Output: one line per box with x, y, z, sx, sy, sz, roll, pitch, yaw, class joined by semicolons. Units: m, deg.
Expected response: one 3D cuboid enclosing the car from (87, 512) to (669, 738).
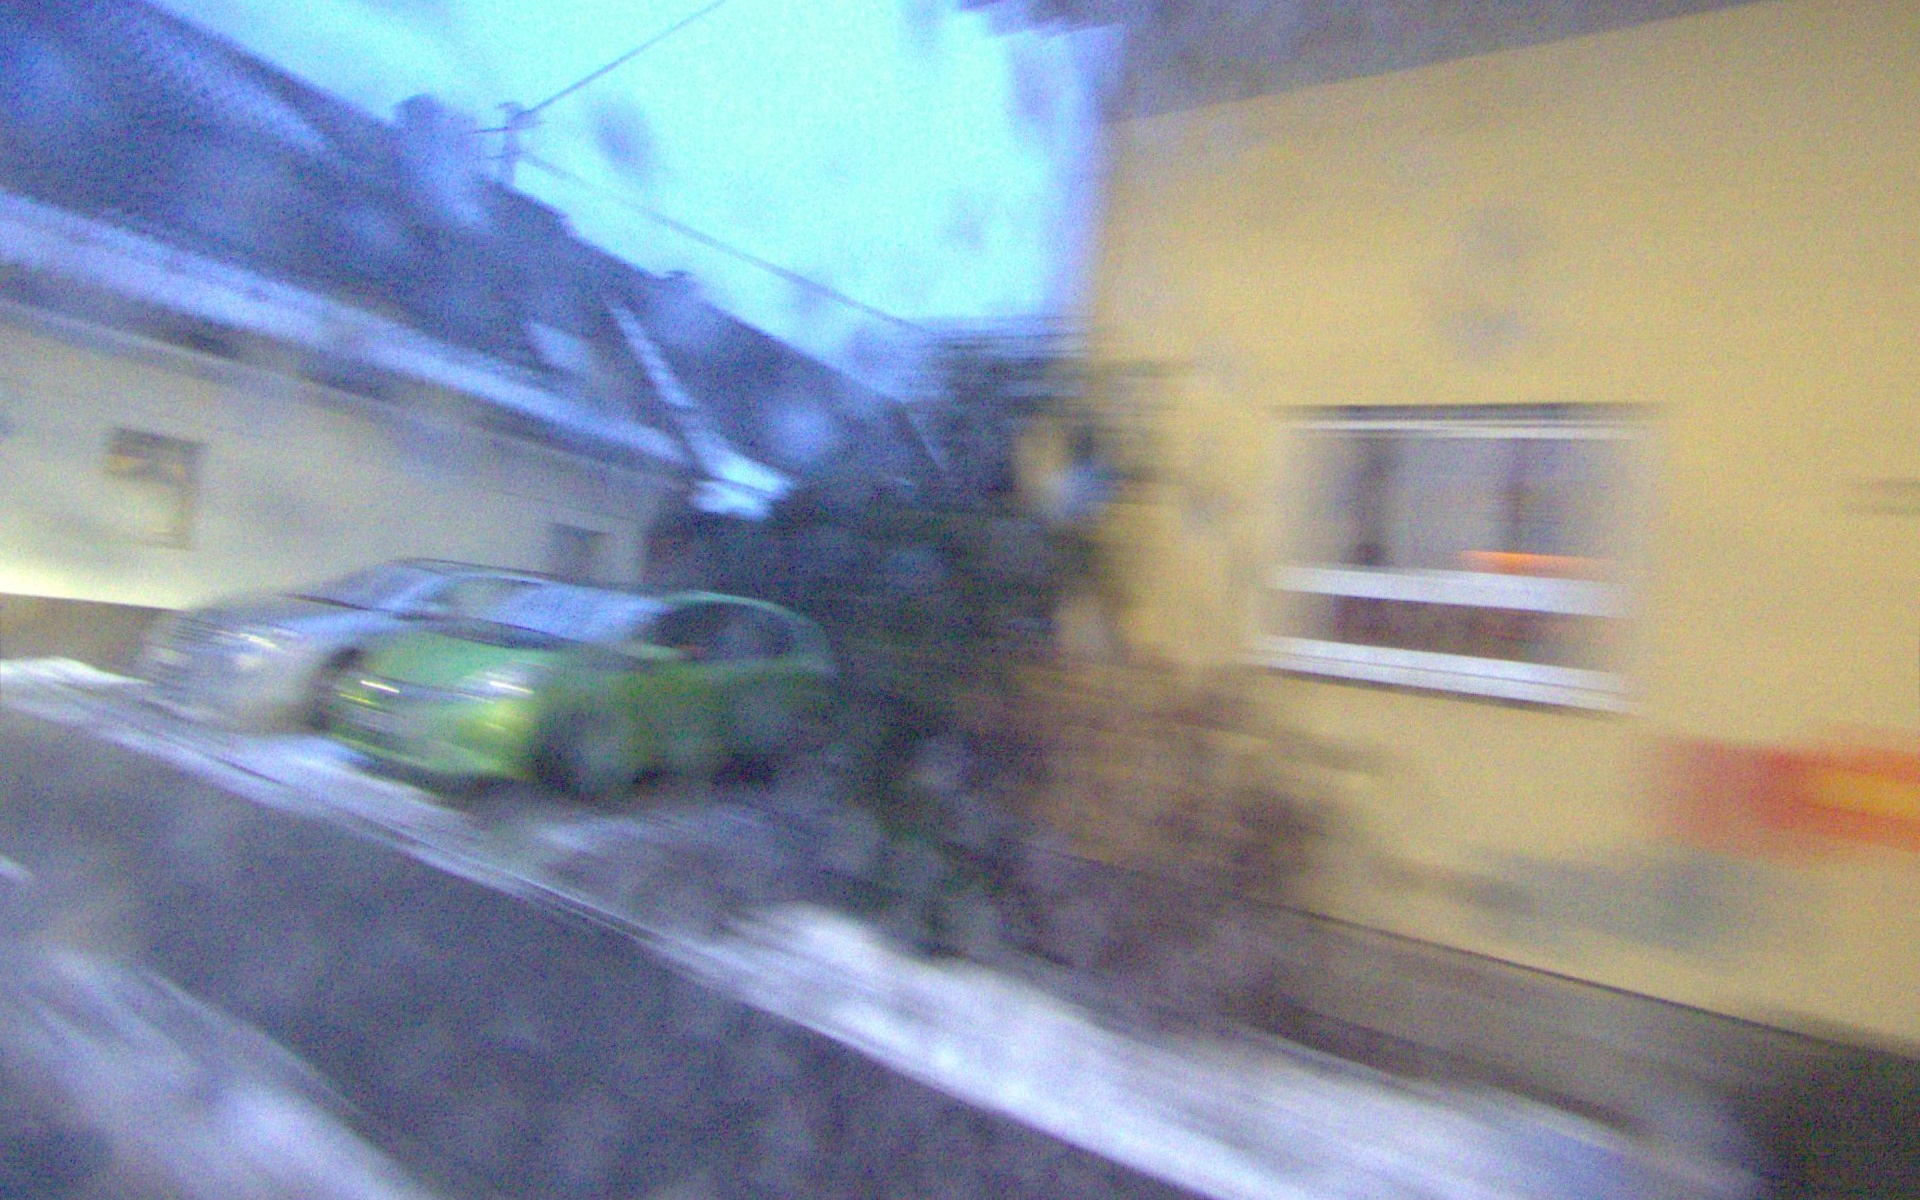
-4.980;0.391;9.319;1.868;1.448;4.185;8;-3;28;car

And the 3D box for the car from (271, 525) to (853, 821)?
-2.660;0.556;7.661;1.789;1.514;3.753;7;-2;27;car
